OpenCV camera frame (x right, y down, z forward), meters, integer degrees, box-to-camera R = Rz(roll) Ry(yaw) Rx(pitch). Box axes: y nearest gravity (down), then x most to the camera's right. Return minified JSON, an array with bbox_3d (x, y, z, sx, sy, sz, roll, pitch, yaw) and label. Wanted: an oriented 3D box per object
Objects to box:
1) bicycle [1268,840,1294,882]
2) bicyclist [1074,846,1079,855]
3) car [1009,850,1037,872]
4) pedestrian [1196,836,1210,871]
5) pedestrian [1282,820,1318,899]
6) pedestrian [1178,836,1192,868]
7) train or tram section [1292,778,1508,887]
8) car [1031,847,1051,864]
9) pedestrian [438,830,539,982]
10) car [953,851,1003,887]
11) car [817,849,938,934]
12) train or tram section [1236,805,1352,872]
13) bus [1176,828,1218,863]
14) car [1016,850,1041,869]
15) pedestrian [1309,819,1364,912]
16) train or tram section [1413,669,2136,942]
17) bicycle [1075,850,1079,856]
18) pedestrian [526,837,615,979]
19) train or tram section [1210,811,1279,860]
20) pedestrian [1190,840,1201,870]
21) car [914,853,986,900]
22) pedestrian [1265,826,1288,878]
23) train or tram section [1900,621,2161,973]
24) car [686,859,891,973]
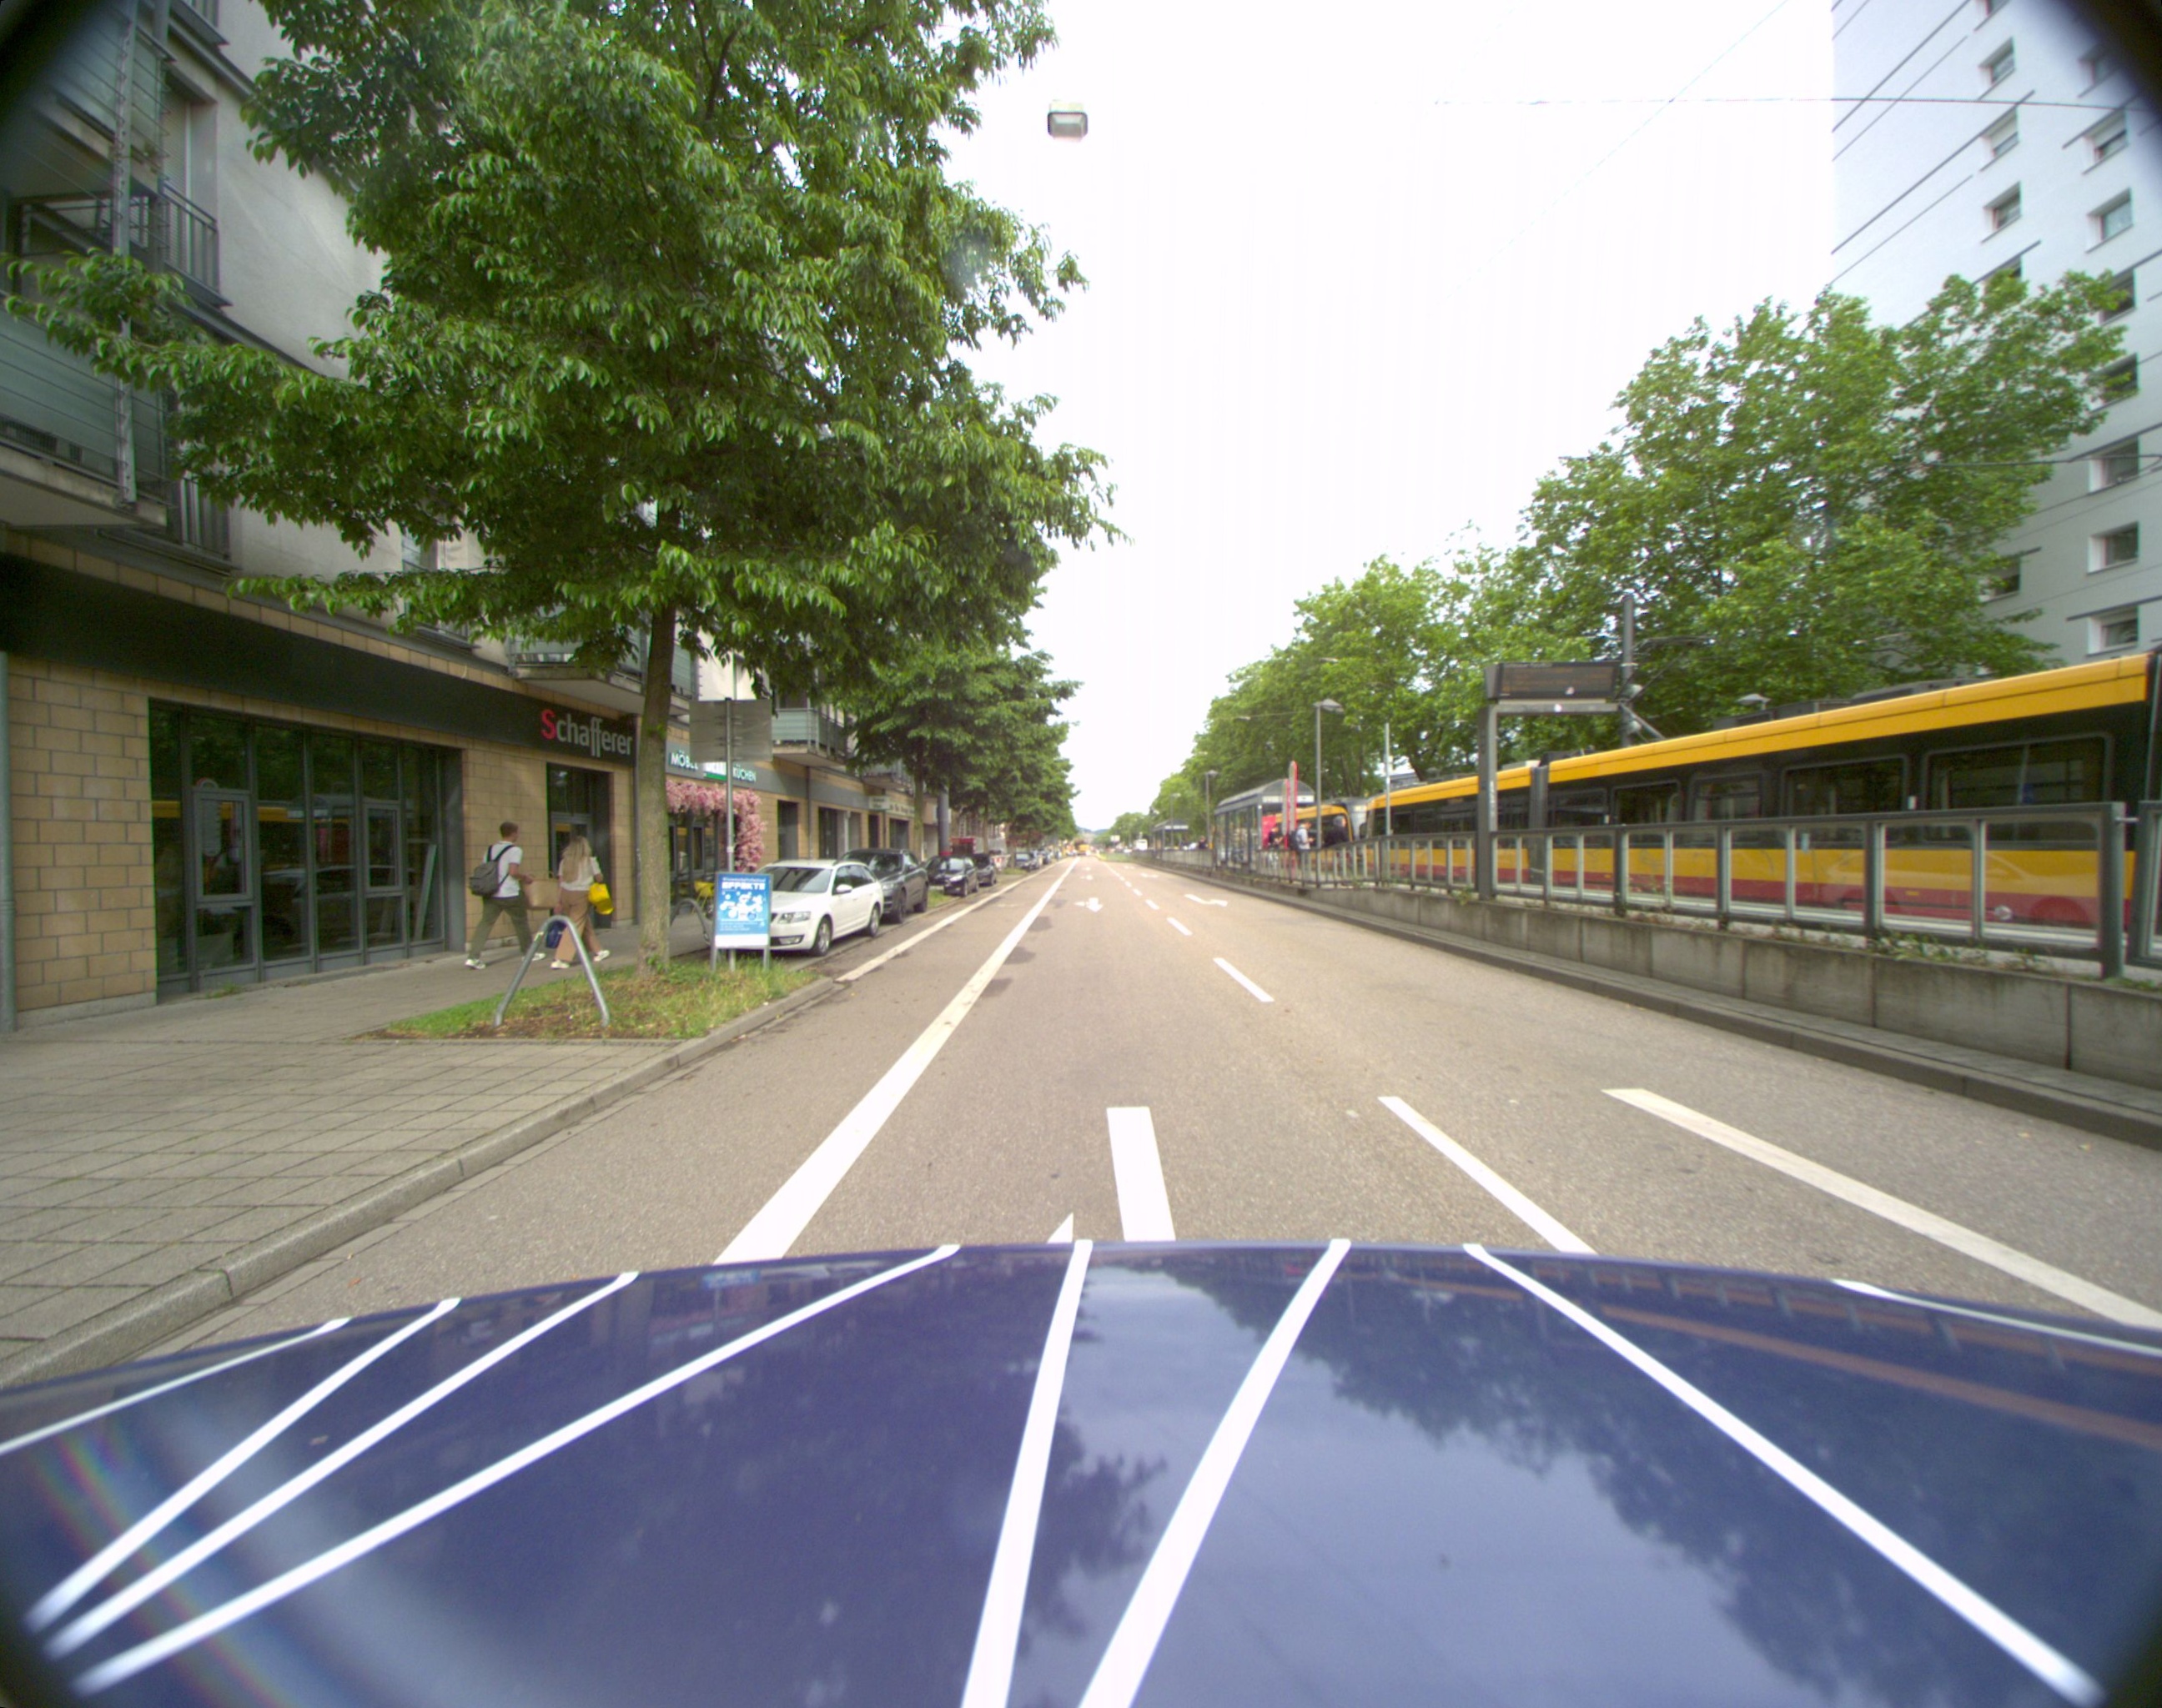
[{"bbox_3d":[6.037,0.195,22.950,0.420,1.215,1.289,-2,1,0],"label":"bicycle"},{"bbox_3d":[-0.828,-0.680,143.900,0.751,1.777,0.838,-2,1,1],"label":"bicyclist"},{"bbox_3d":[-4.292,0.492,56.515,1.755,1.452,4.279,1,1,0],"label":"car"},{"bbox_3d":[5.860,-0.041,36.449,0.513,1.623,0.730,-2,1,2],"label":"pedestrian"},{"bbox_3d":[5.696,0.134,19.731,0.753,2.002,0.819,-2,2,24],"label":"pedestrian"},{"bbox_3d":[6.620,-0.130,48.343,0.676,2.002,0.588,-2,1,-2],"label":"pedestrian"},{"bbox_3d":[12.826,-0.835,33.107,3.067,3.511,15.292,-2,1,1],"label":"train or tram section"},{"bbox_3d":[-4.092,0.155,78.819,1.837,1.720,4.279,1,1,0],"label":"car"},{"bbox_3d":[-7.578,0.637,9.753,0.676,1.880,0.737,0,1,2],"label":"pedestrian"},{"bbox_3d":[-4.702,0.639,35.154,1.802,1.447,4.387,2,1,-1],"label":"car"},{"bbox_3d":[-4.749,0.772,18.430,1.716,1.707,4.710,2,1,-1],"label":"car"},{"bbox_3d":[13.006,-0.946,48.630,3.067,3.511,15.769,-2,1,1],"label":"train or tram section"},{"bbox_3d":[7.305,-0.551,48.250,1.998,2.002,3.999,-2,1,1],"label":"bus"},{"bbox_3d":[-4.307,0.454,62.583,1.755,1.452,4.279,1,1,0],"label":"car"},{"bbox_3d":[5.667,0.248,16.889,0.756,2.002,0.816,-3,2,-36],"label":"pedestrian"},{"bbox_3d":[12.628,-0.756,17.795,3.067,3.511,15.292,-2,1,1],"label":"train or tram section"},{"bbox_3d":[-0.776,-0.173,143.720,0.613,1.116,2.050,-2,1,1],"label":"bicycle"},{"bbox_3d":[-6.650,0.677,9.925,0.617,1.795,0.737,0,1,2],"label":"pedestrian"},{"bbox_3d":[13.205,-1.459,62.779,3.100,3.541,12.537,-2,1,1],"label":"train or tram section"},{"bbox_3d":[6.202,0.069,41.262,0.480,1.623,0.392,-2,1,2],"label":"pedestrian"},{"bbox_3d":[-4.615,0.746,27.370,1.680,1.433,4.407,2,1,2],"label":"car"},{"bbox_3d":[6.228,-0.056,24.214,0.532,1.623,0.471,-2,1,-2],"label":"pedestrian"},{"bbox_3d":[12.445,-0.542,2.248,3.067,3.568,15.846,-2,1,1],"label":"train or tram section"},{"bbox_3d":[-4.710,0.895,13.002,1.680,1.490,4.389,2,1,2],"label":"car"}]
